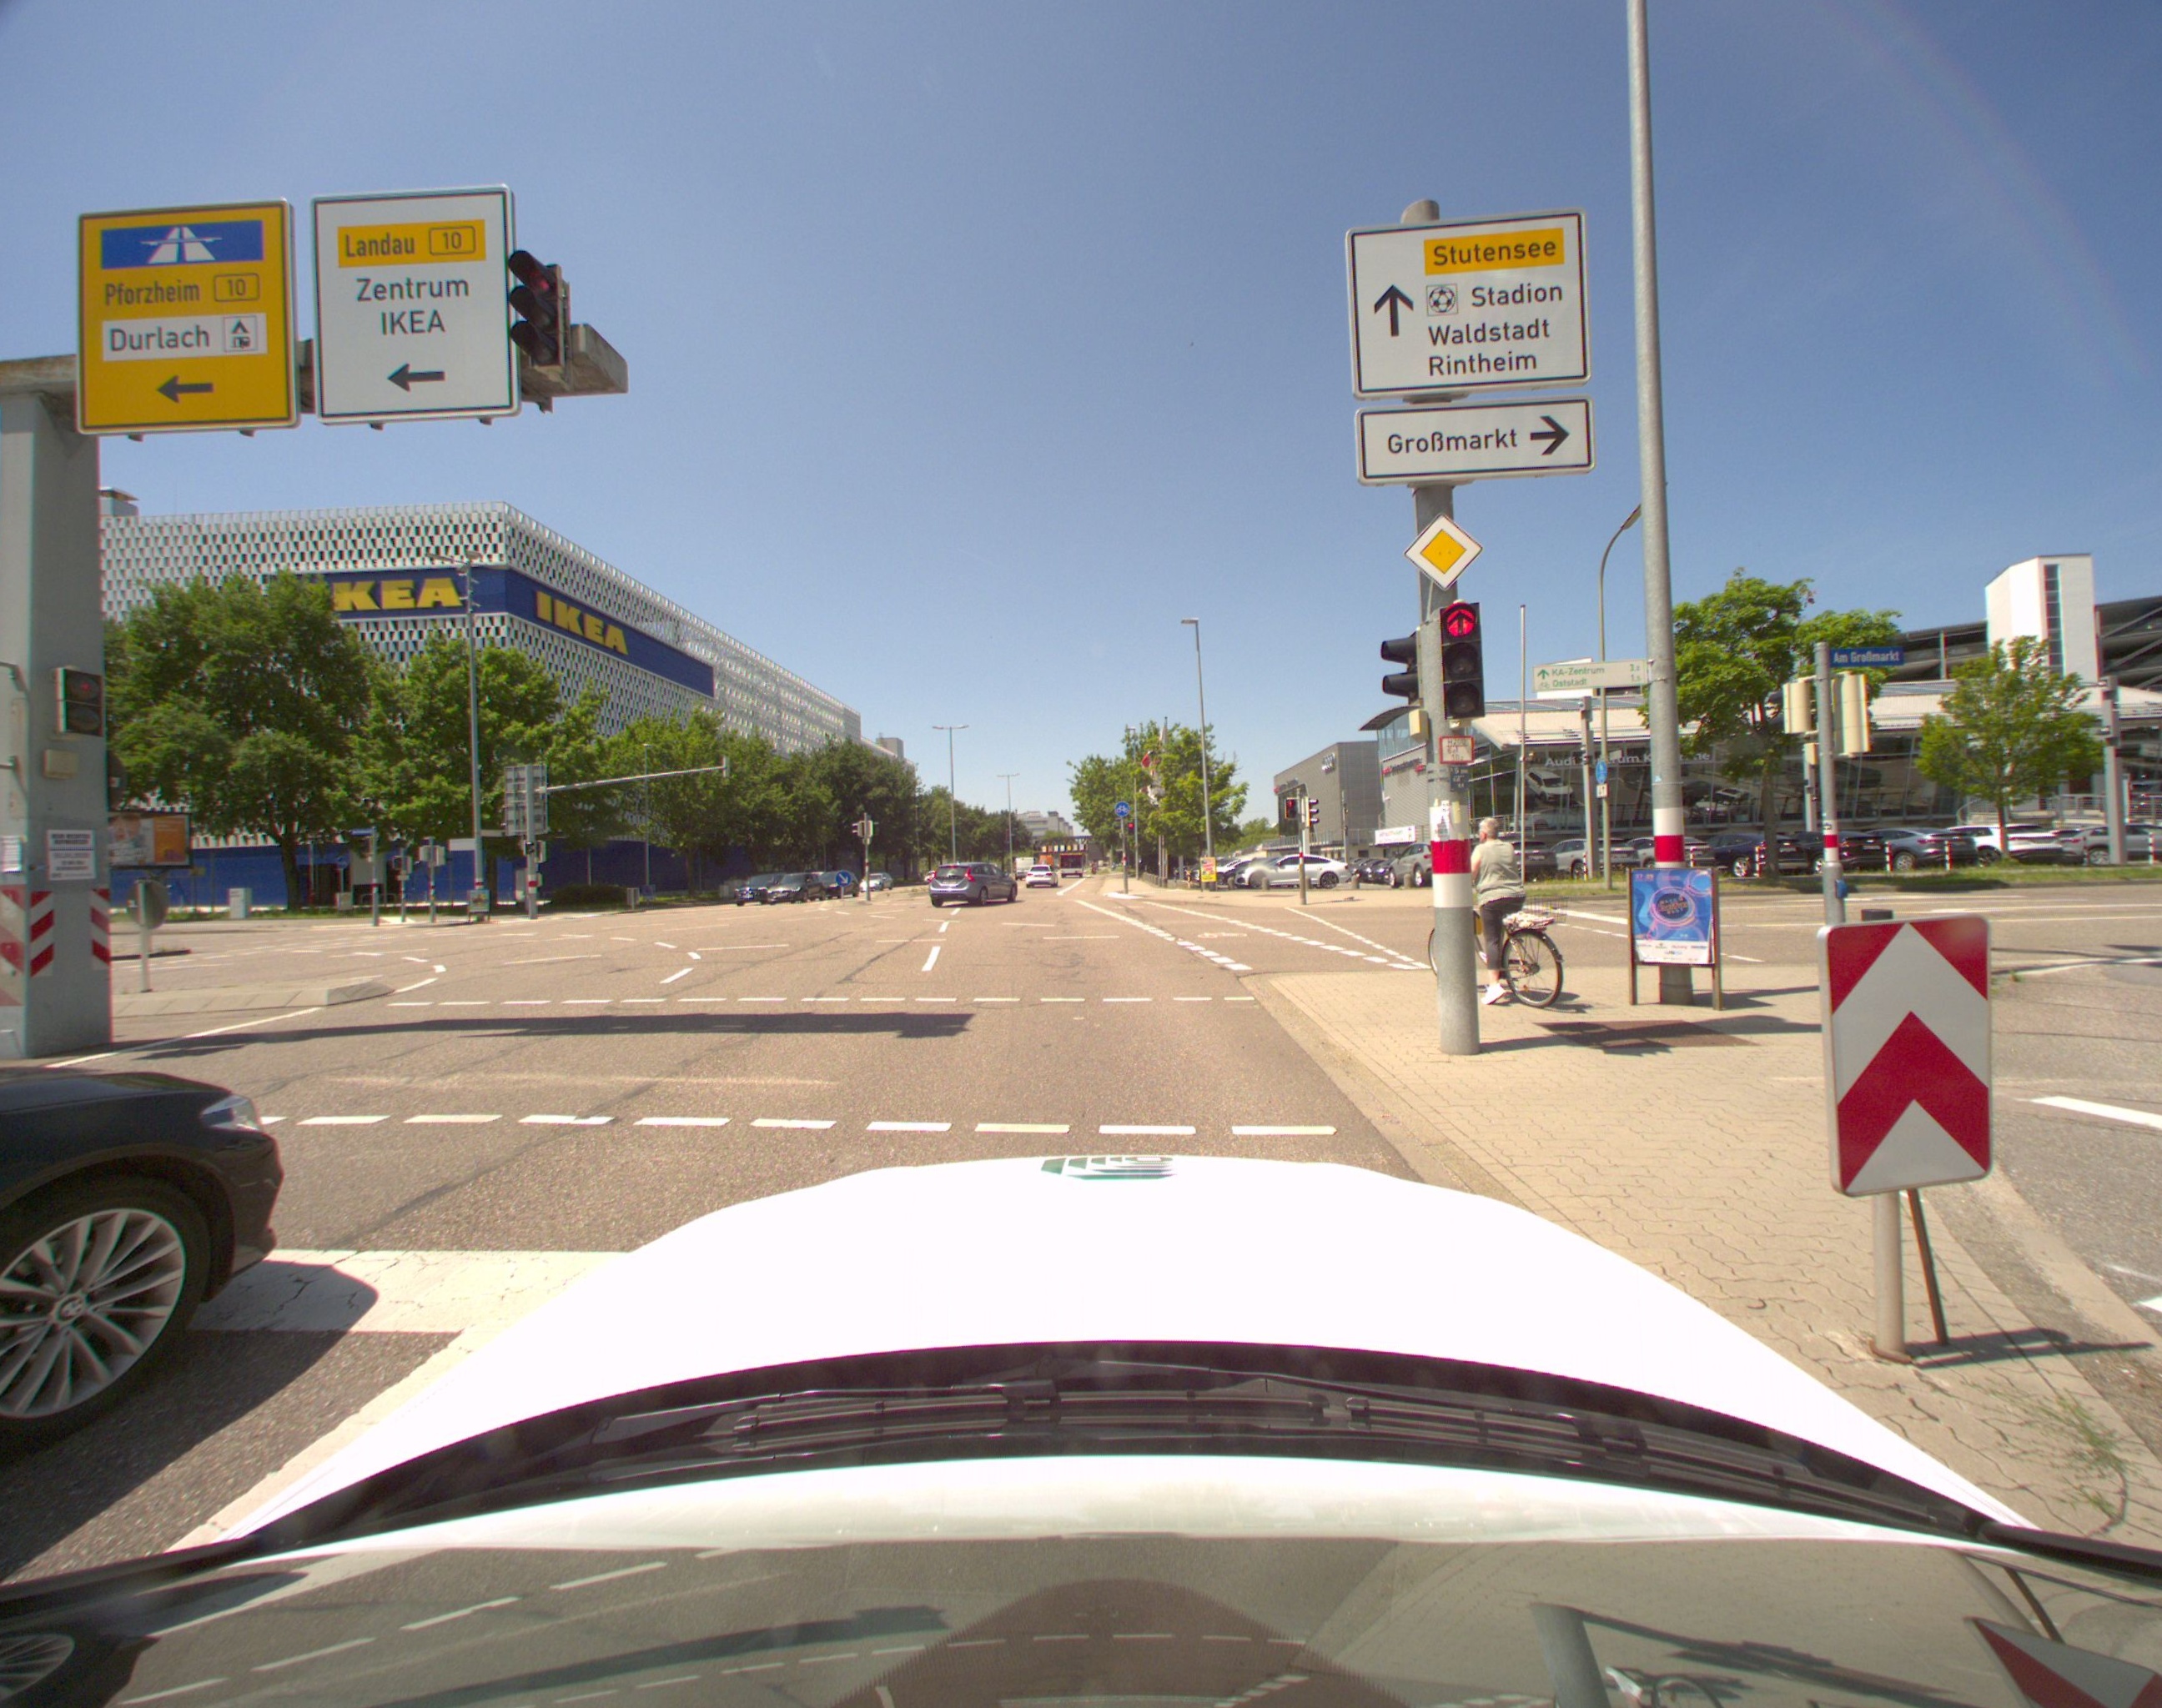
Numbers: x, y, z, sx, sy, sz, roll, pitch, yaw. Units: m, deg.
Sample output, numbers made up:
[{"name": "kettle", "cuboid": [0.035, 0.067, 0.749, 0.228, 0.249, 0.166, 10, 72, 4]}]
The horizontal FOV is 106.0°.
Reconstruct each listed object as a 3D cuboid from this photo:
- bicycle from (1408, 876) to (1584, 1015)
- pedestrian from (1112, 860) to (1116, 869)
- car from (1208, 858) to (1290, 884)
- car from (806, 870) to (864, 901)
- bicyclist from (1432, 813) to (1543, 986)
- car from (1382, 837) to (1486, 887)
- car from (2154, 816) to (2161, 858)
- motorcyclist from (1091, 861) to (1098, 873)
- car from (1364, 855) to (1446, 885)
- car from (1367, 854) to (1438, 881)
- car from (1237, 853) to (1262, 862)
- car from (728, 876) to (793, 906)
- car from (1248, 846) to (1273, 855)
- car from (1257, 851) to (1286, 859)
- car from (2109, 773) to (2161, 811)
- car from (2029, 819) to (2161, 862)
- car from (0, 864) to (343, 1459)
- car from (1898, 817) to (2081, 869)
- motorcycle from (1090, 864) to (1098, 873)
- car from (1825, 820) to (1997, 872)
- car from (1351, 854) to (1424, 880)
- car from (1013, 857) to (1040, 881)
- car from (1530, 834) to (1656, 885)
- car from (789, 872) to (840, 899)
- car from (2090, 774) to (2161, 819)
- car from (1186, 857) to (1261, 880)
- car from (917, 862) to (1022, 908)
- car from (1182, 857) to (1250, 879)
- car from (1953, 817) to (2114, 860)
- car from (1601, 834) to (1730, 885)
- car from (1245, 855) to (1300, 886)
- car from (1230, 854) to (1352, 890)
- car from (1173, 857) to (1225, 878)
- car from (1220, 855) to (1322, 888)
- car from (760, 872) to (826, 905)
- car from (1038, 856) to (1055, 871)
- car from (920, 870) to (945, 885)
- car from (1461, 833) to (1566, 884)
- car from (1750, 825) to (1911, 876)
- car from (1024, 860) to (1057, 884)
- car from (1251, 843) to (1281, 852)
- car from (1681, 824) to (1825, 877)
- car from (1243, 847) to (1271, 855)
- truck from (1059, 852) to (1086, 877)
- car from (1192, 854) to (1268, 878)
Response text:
[{"name": "bicycle", "cuboid": [3.981, 0.816, 8.000, 0.627, 1.133, 1.891, -1, 0, -5]}, {"name": "pedestrian", "cuboid": [5.288, 1.704, 131.966, 0.621, 1.374, 0.564, -2, -1, 0]}, {"name": "car", "cuboid": [8.967, 0.890, 43.634, 4.081, 1.364, 1.875, 0, -1, 1]}, {"name": "car", "cuboid": [-13.683, 1.721, 45.516, 1.720, 1.505, 4.245, -4, -1, 2]}, {"name": "bicyclist", "cuboid": [3.975, 0.425, 8.017, 0.627, 1.606, 0.824, 0, -1, -5]}, {"name": "car", "cuboid": [12.387, 0.333, 28.918, 1.860, 1.558, 4.506, -3, -2, 3]}, {"name": "car", "cuboid": [39.500, -0.659, 26.880, 4.558, 1.471, 1.861, -2, 0, 26]}, {"name": "motorcyclist", "cuboid": [1.729, 1.673, 106.068, 0.719, 1.529, 0.868, 0, -1, -8]}, {"name": "car", "cuboid": [18.064, 0.880, 45.543, 3.970, 1.622, 1.657, 0, -1, 1]}, {"name": "car", "cuboid": [19.233, 0.810, 48.867, 3.634, 1.580, 1.643, 0, -1, 1]}, {"name": "car", "cuboid": [29.127, 0.642, 141.032, 3.978, 1.312, 1.795, -2, -1, -3]}, {"name": "car", "cuboid": [-16.807, 1.905, 42.927, 1.654, 1.424, 4.039, -3, -1, 2]}, {"name": "car", "cuboid": [27.388, -0.532, 124.302, 3.515, 1.239, 1.675, 0, -1, -3]}, {"name": "car", "cuboid": [27.126, 0.124, 116.046, 3.716, 1.130, 1.682, 0, -1, -3]}, {"name": "car", "cuboid": [53.471, -3.107, 39.460, 1.905, 1.722, 4.142, -2, 0, -5]}, {"name": "car", "cuboid": [39.525, -0.551, 30.676, 4.531, 1.471, 1.925, -3, -1, 26]}, {"name": "car", "cuboid": [-3.558, 0.762, 0.608, 1.791, 1.440, 4.557, -2, 0, 1]}, {"name": "car", "cuboid": [31.193, -0.333, 28.161, 1.840, 1.654, 3.994, 0, -1, -2]}, {"name": "motorcycle", "cuboid": [1.720, 1.913, 106.108, 0.716, 1.105, 1.825, -1, -1, -8]}, {"name": "car", "cuboid": [28.550, -0.238, 28.219, 1.840, 1.654, 3.994, 0, -1, -2]}, {"name": "car", "cuboid": [19.161, 0.809, 51.036, 3.967, 1.573, 1.634, 0, -1, 1]}, {"name": "car", "cuboid": [-4.790, 1.288, 71.726, 1.986, 2.014, 4.000, -2, -1, 1]}, {"name": "car", "cuboid": [17.899, 0.204, 28.716, 1.840, 1.654, 3.994, 0, -1, -2]}, {"name": "car", "cuboid": [-16.680, 1.940, 51.167, 1.720, 1.544, 3.916, -3, -1, 2]}, {"name": "car", "cuboid": [45.728, -2.476, 34.002, 4.552, 1.707, 1.916, -2, -1, 4]}, {"name": "car", "cuboid": [8.556, 0.869, 49.148, 4.210, 1.390, 1.869, 0, -1, 1]}, {"name": "car", "cuboid": [-3.752, 1.011, 28.177, 1.885, 1.376, 4.251, -3, -1, 18]}, {"name": "car", "cuboid": [8.569, 0.882, 51.949, 4.085, 1.405, 1.869, 0, -1, 1]}, {"name": "car", "cuboid": [39.804, -0.638, 34.194, 3.947, 1.571, 1.862, -3, -1, 31]}, {"name": "car", "cuboid": [20.208, 0.143, 28.367, 1.632, 1.616, 3.815, -1, 1, -2]}, {"name": "car", "cuboid": [9.230, 0.794, 39.595, 1.855, 1.420, 4.667, 0, -1, 4]}, {"name": "car", "cuboid": [8.474, 0.715, 33.179, 4.572, 1.390, 1.871, 0, -1, 3]}, {"name": "car", "cuboid": [8.684, 0.995, 60.271, 3.668, 1.453, 1.834, 0, -1, 1]}, {"name": "car", "cuboid": [8.268, 0.749, 35.623, 4.081, 1.390, 1.869, 0, -1, 1]}, {"name": "car", "cuboid": [-13.767, 1.642, 39.162, 1.637, 1.389, 3.717, -4, -1, 2]}, {"name": "car", "cuboid": [-4.621, 1.254, 110.249, 1.986, 2.014, 4.814, 0, -1, 2]}, {"name": "car", "cuboid": [-16.002, 2.522, 87.864, 1.737, 1.486, 4.001, -3, -1, 2]}, {"name": "car", "cuboid": [15.067, 0.181, 28.636, 1.836, 1.654, 4.003, 0, -1, 5]}, {"name": "car", "cuboid": [25.841, -0.093, 28.278, 1.840, 1.654, 3.994, 0, -1, -2]}, {"name": "car", "cuboid": [-2.485, 1.114, 50.713, 1.737, 1.396, 3.530, -1, -1, 2]}, {"name": "car", "cuboid": [27.334, -0.903, 120.359, 3.930, 1.211, 1.715, -1, -1, -3]}, {"name": "car", "cuboid": [23.094, -0.096, 28.186, 1.624, 1.654, 3.907, -1, -1, -2]}, {"name": "car", "cuboid": [27.811, -0.482, 128.946, 3.977, 1.312, 1.795, 0, -1, -3]}, {"name": "truck", "cuboid": [-0.798, 1.068, 82.021, 2.449, 2.410, 7.136, 0, -1, 2]}, {"name": "car", "cuboid": [8.449, 0.676, 46.440, 4.084, 1.349, 1.869, 0, -1, 1]}]
